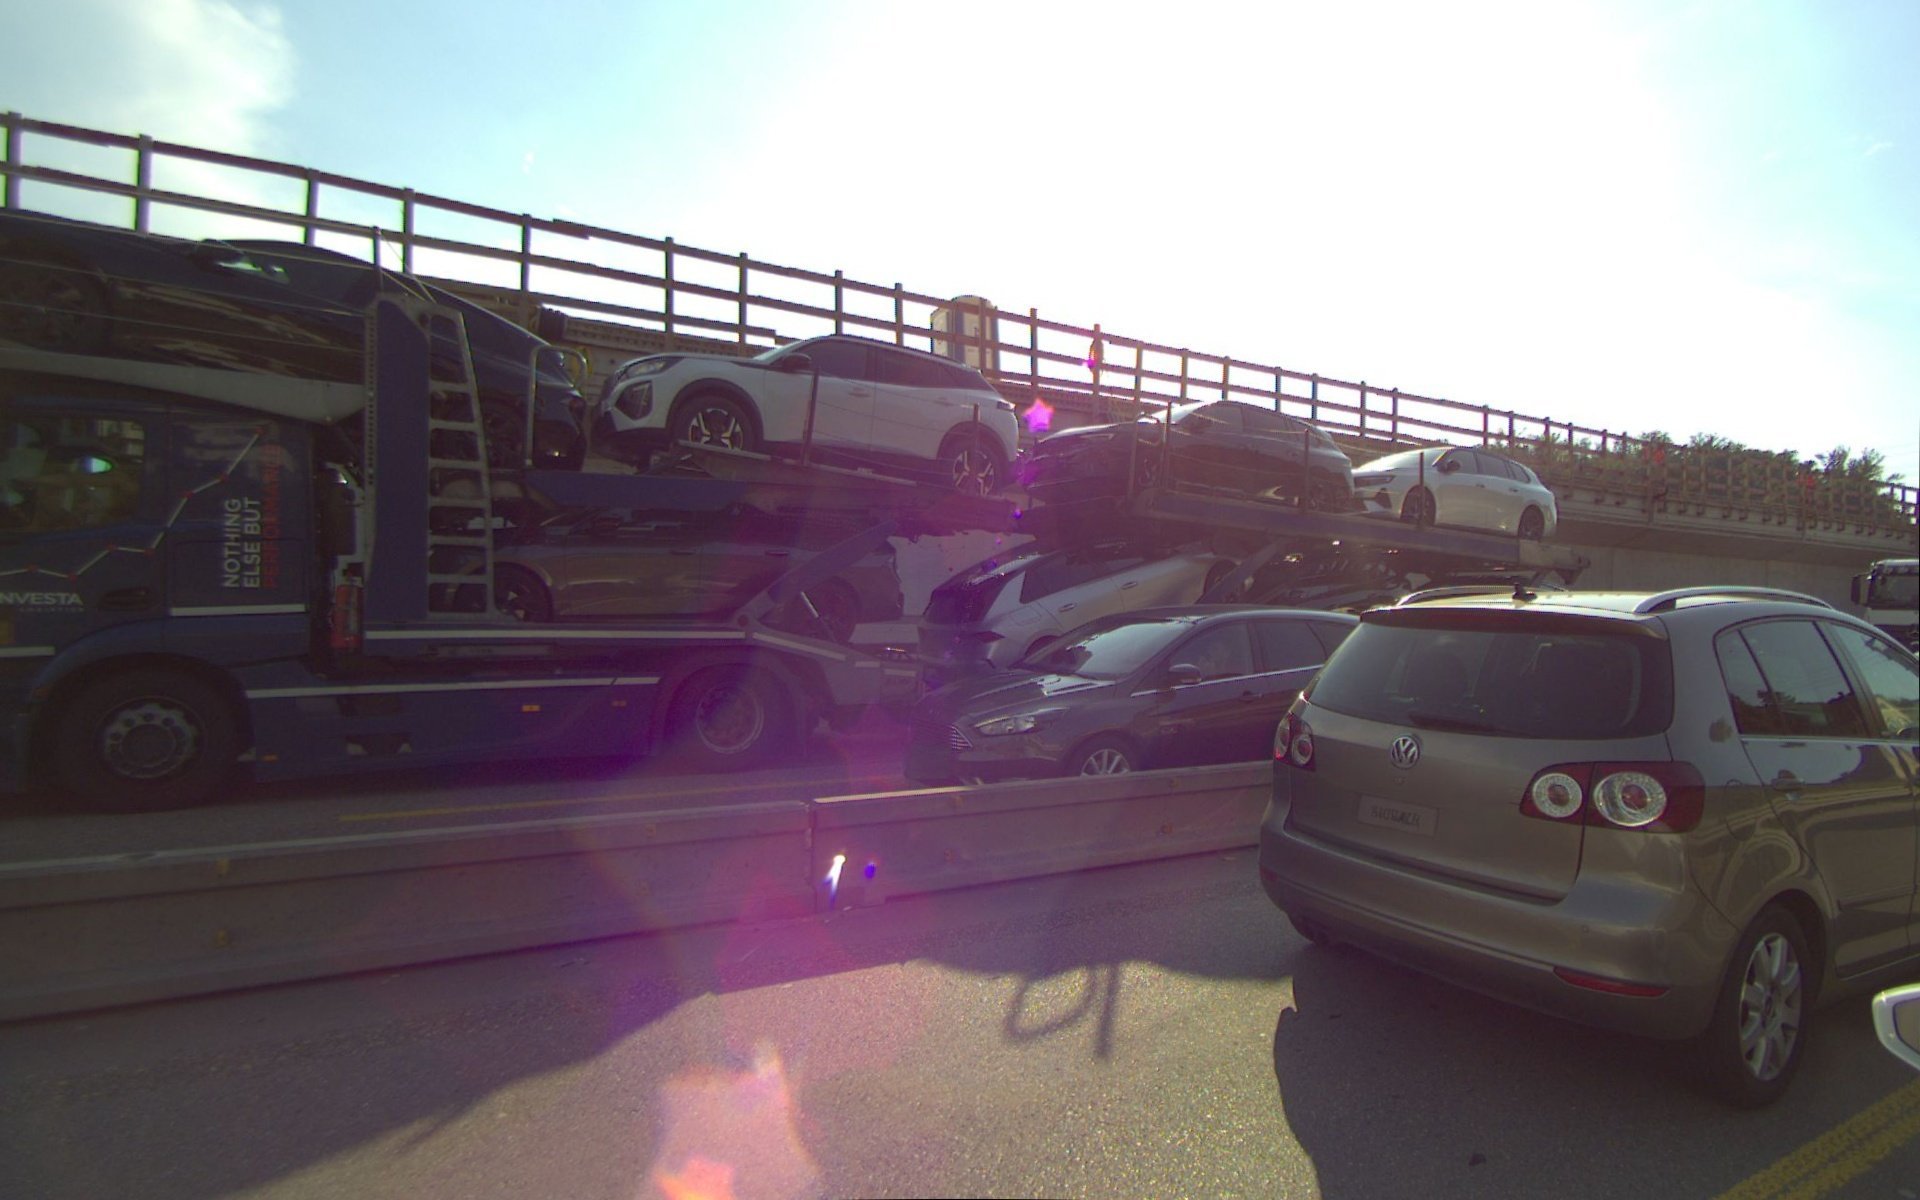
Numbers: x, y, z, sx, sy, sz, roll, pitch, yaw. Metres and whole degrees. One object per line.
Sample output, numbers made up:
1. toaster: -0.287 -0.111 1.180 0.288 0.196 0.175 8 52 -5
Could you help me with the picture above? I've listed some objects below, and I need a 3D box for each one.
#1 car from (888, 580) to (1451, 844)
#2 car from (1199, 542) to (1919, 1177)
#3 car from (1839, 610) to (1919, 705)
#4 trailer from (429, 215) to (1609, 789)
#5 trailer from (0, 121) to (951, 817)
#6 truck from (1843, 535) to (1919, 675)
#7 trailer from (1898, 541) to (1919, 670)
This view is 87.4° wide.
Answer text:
1. car: 1.747 0.730 7.933 4.288 1.599 1.748 2 0 -31
2. car: 3.192 0.734 4.367 4.223 1.609 1.672 2 -1 -31
3. car: 18.050 1.034 18.228 4.780 1.572 1.757 2 0 -31
4. trailer: 2.372 -0.497 12.349 15.581 4.084 2.757 2 0 -31
5. trailer: -3.872 -0.699 8.568 7.124 4.084 2.757 2 0 -31
6. truck: 26.037 0.195 26.486 5.468 3.454 2.536 2 0 -31
7. trailer: 31.520 0.295 29.736 10.557 3.573 2.544 2 0 -31
